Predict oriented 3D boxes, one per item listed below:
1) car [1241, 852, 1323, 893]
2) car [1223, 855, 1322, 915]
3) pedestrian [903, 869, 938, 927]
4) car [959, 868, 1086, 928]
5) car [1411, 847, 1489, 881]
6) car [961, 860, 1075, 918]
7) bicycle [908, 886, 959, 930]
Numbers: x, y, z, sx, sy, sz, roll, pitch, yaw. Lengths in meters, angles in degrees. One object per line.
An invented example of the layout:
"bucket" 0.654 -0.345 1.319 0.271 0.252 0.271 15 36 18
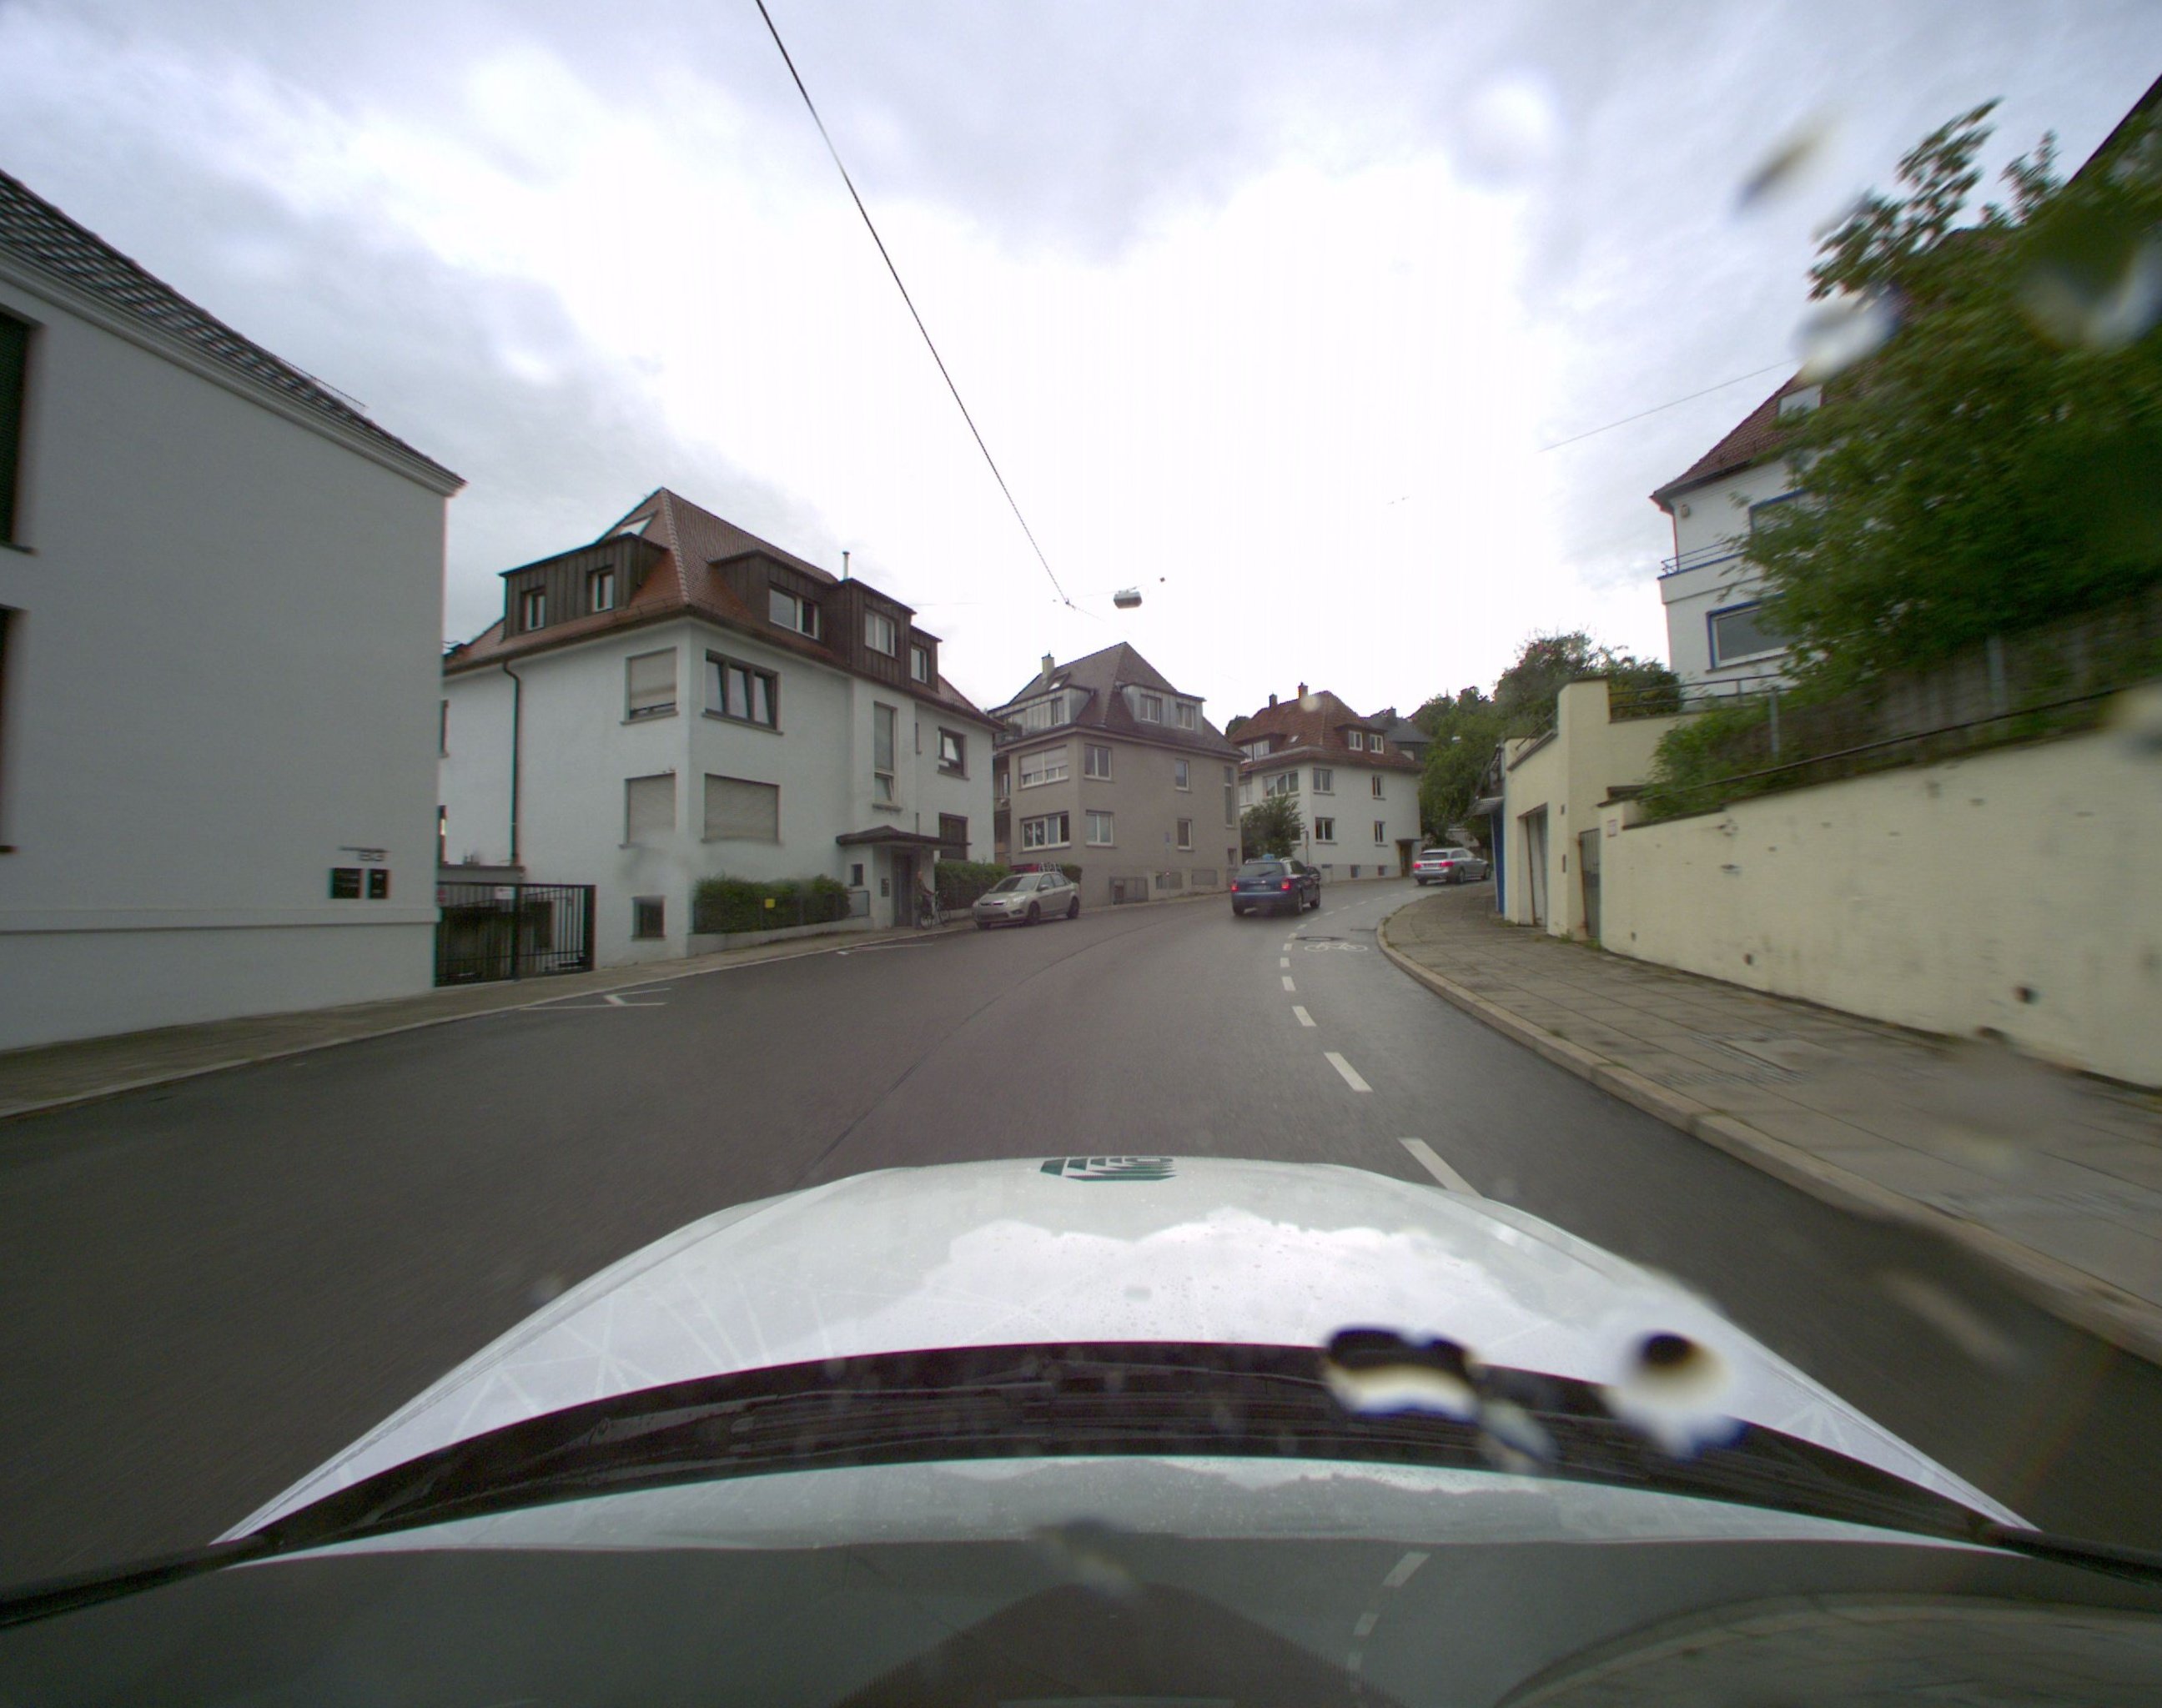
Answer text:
"car" 11.619 1.117 47.225 2.008 1.624 4.208 -2 -9 -34
"car" 5.232 0.775 21.876 1.795 1.439 4.104 -2 -1 24
"pedestrian" -4.528 1.230 22.995 0.488 1.577 0.952 -3 -1 20
"car" -1.578 1.218 23.736 1.819 1.425 4.253 -4 -2 24
"car" 15.481 0.396 34.084 1.794 1.361 4.024 -2 -1 42
"car" -2.535 1.397 32.671 3.949 1.823 2.013 -8 -3 29
"bicycle" -4.100 1.490 22.783 0.452 1.067 1.931 -3 -1 20
